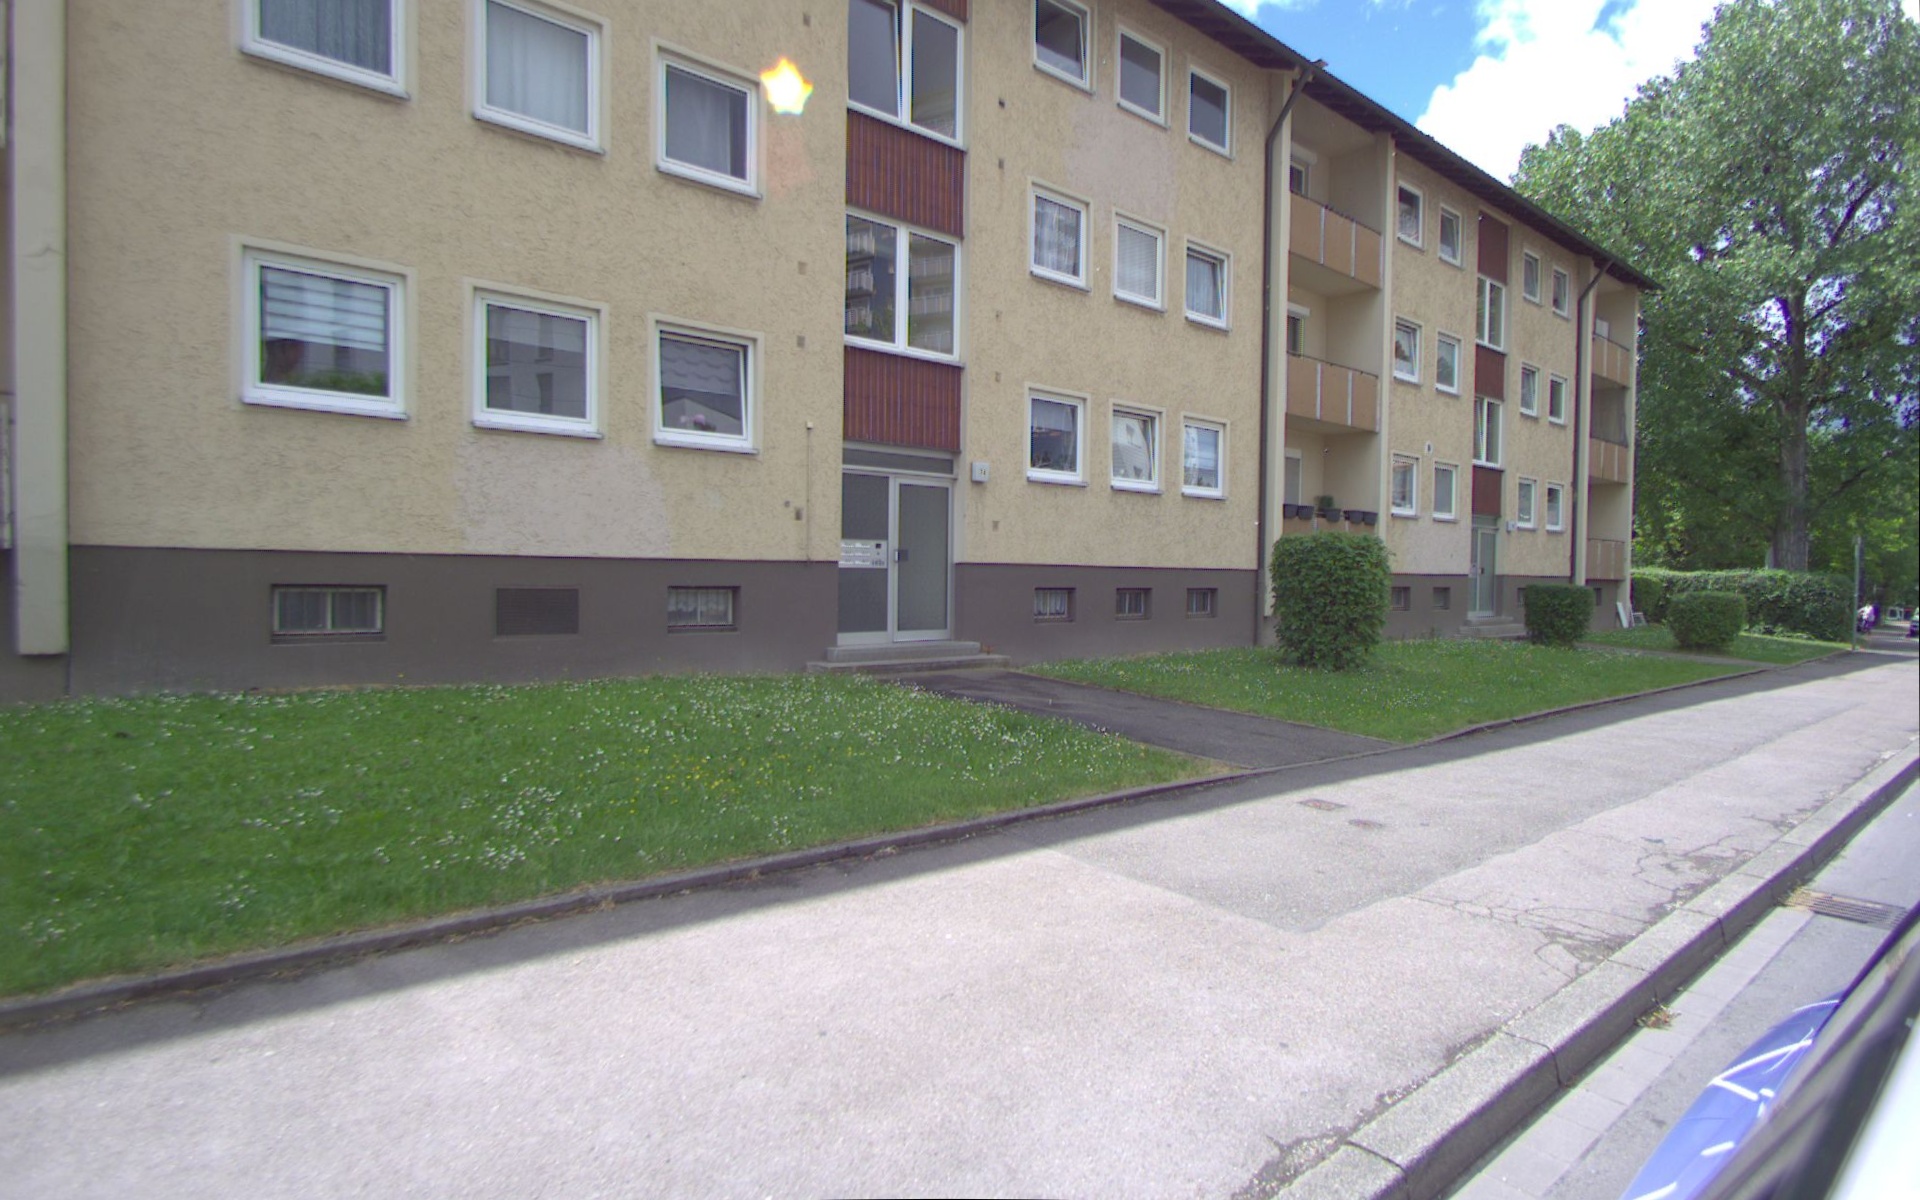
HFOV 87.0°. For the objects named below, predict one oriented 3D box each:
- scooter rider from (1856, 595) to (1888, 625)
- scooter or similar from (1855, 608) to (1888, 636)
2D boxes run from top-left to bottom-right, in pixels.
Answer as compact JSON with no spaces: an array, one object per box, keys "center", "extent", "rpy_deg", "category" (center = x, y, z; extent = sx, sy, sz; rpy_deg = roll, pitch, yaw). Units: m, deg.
[{"center":[39.174,0.436,43.449],"extent":[1.260,1.235,0.886],"rpy_deg":[2,1,-44],"category":"scooter rider"},{"center":[39.076,0.950,43.386],"extent":[2.078,1.078,0.891],"rpy_deg":[2,1,-44],"category":"scooter or similar"}]
